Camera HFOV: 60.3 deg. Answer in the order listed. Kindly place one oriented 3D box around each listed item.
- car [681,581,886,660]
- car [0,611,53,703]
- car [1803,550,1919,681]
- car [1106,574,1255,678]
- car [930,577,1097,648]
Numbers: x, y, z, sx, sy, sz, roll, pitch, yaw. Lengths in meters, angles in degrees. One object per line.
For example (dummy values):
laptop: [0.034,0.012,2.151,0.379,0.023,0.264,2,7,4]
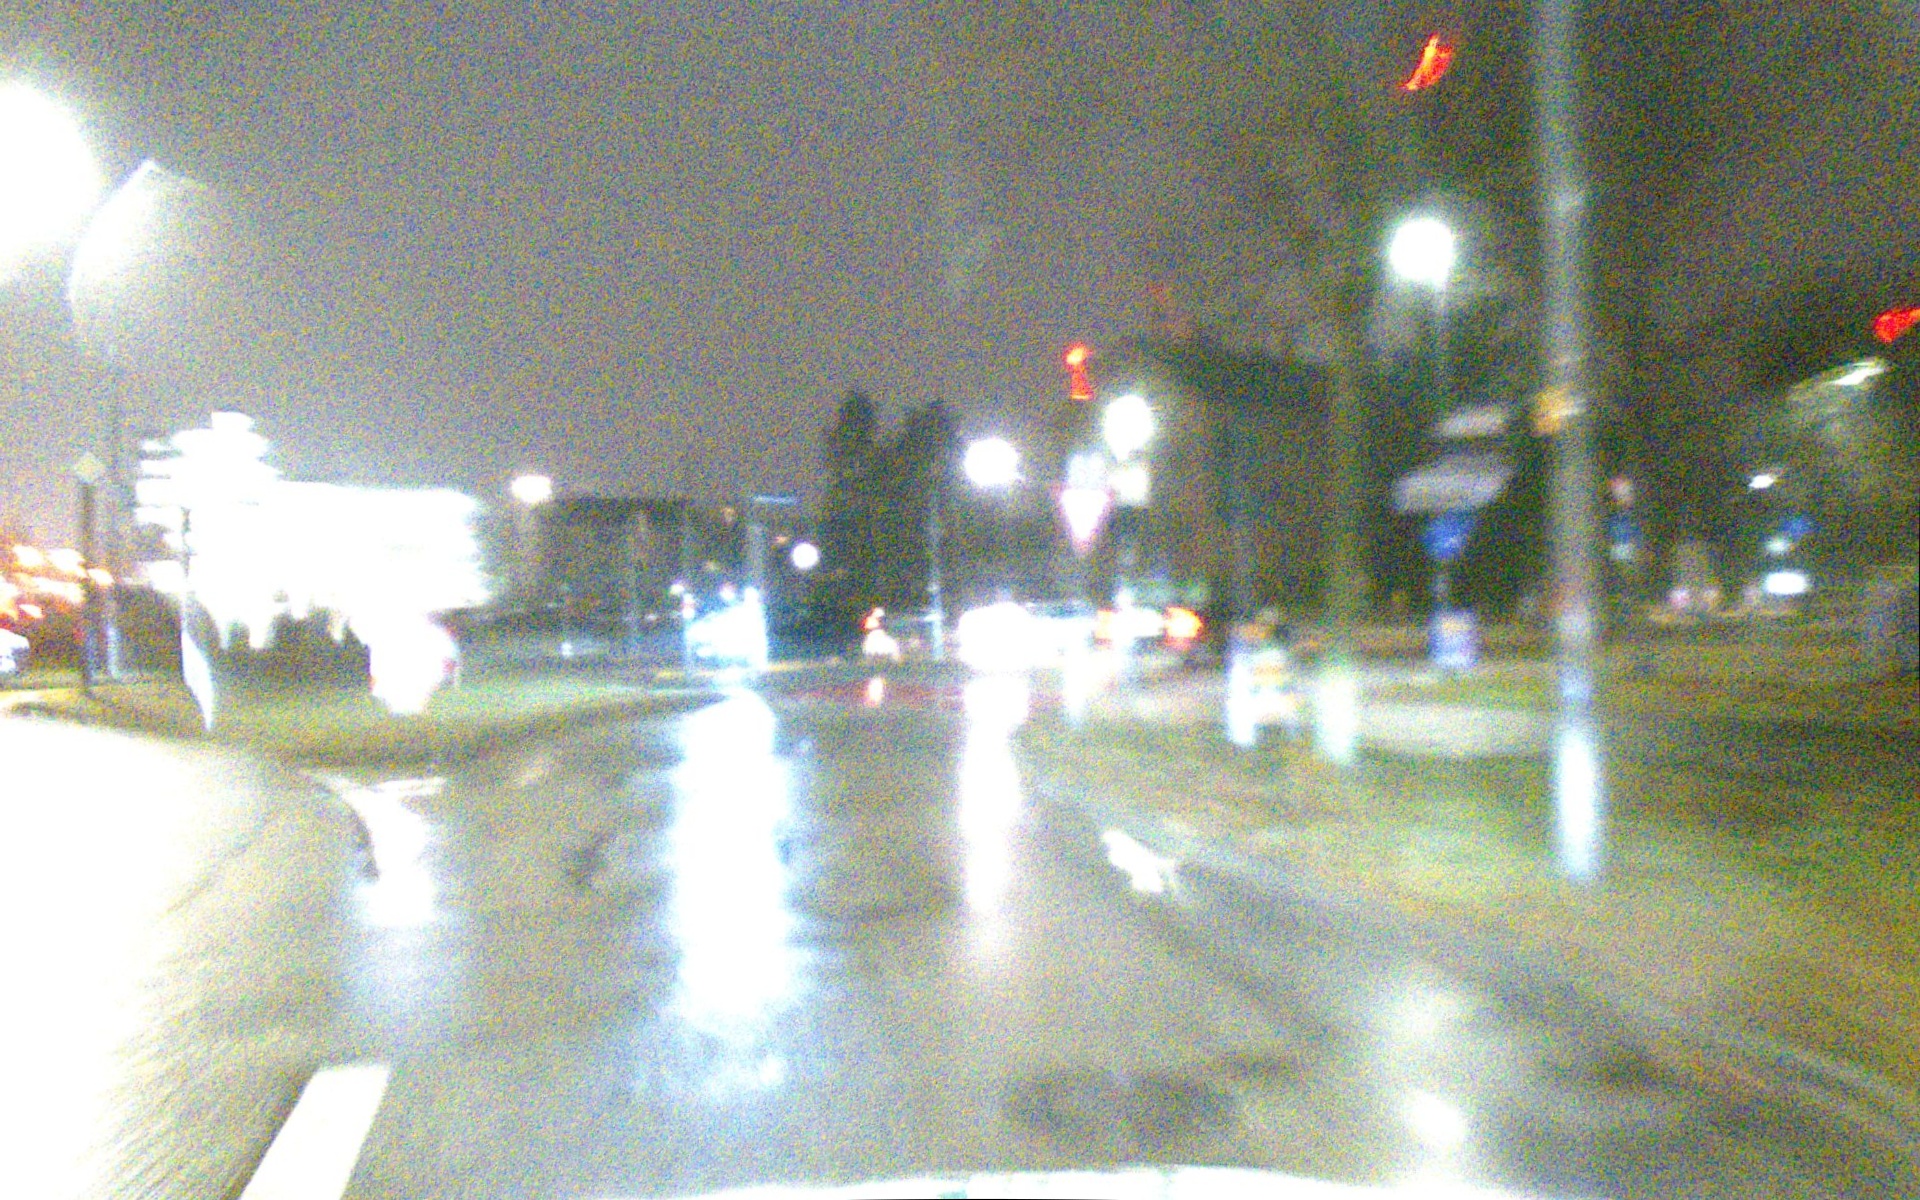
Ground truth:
car: [-4.245,0.444,39.959,4.564,1.766,1.977,-1,1,-34]
car: [-19.198,1.087,30.984,3.838,1.668,1.845,-1,1,-31]
car: [13.584,0.189,21.874,1.898,1.713,3.948,-1,1,-36]
car: [4.772,0.483,35.218,1.953,2.049,4.556,0,1,24]
car: [1.482,0.300,44.821,4.347,1.789,1.853,-1,1,-37]
